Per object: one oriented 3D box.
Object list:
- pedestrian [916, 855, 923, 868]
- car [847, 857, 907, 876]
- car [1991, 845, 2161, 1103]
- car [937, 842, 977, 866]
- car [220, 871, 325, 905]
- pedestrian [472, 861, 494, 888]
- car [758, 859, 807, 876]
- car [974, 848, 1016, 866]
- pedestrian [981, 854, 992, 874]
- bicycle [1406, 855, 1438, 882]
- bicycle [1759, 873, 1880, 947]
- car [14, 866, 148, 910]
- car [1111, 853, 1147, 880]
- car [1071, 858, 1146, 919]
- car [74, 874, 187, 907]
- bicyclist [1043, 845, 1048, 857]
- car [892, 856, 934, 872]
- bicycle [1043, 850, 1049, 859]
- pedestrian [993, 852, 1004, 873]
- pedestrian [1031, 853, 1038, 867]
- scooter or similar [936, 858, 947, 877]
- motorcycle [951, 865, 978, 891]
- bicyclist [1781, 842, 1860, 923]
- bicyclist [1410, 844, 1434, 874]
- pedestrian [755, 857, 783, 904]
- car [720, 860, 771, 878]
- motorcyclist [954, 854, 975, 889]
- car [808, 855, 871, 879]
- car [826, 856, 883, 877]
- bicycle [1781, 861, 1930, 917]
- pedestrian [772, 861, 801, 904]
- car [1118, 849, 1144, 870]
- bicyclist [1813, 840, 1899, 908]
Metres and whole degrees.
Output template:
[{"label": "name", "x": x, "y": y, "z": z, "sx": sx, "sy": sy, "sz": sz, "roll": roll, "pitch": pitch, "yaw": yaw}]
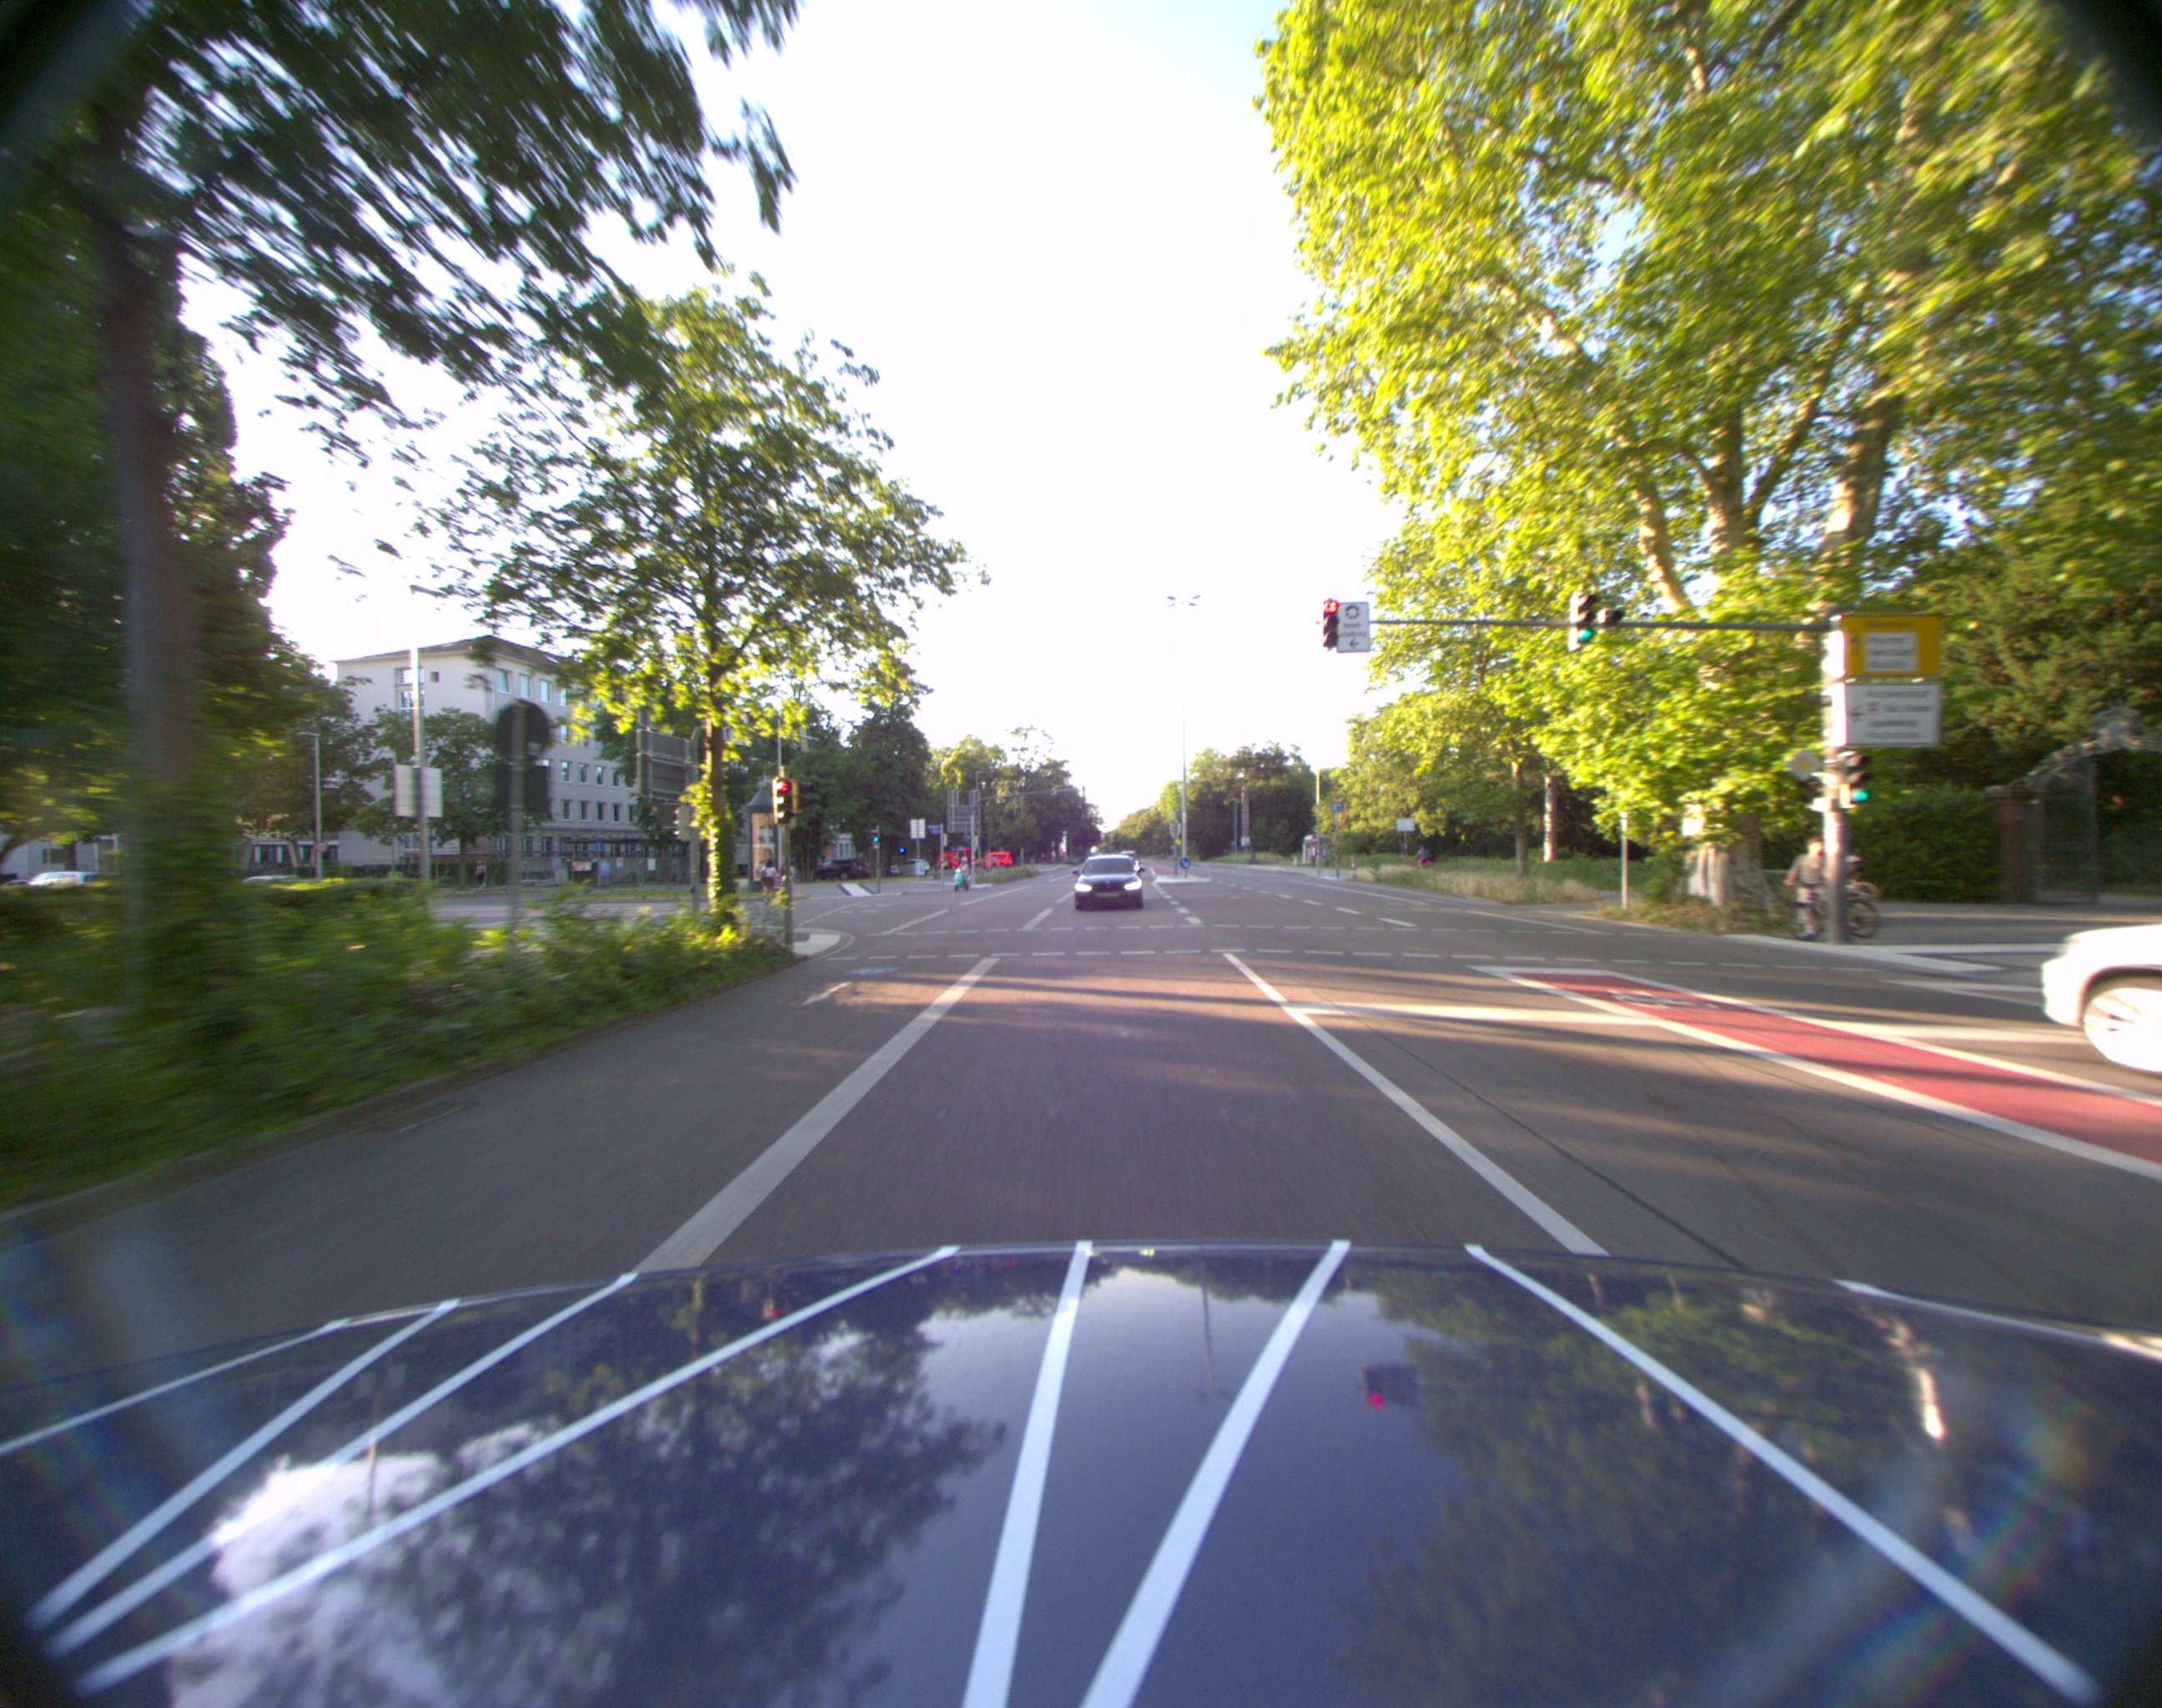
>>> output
[{"label": "pedestrian", "x": -22.684, "y": 1.041, "z": 106.607, "sx": 0.682, "sy": 1.831, "sz": 0.846, "roll": -1, "pitch": 0, "yaw": 6}, {"label": "car", "x": -17.390, "y": 1.059, "z": 64.726, "sx": 4.514, "sy": 1.455, "sz": 1.920, "roll": -1, "pitch": 1, "yaw": 7}, {"label": "car", "x": 8.004, "y": 0.802, "z": 3.660, "sx": 1.921, "sy": 1.686, "sz": 4.426, "roll": 1, "pitch": 0, "yaw": 0}, {"label": "car", "x": -17.108, "y": -0.036, "z": 105.589, "sx": 2.769, "sy": 3.225, "sz": 8.304, "roll": -1, "pitch": 0, "yaw": 11}, {"label": "car", "x": -42.045, "y": 1.757, "z": 39.554, "sx": 3.993, "sy": 1.630, "sz": 1.902, "roll": -1, "pitch": 1, "yaw": 12}, {"label": "pedestrian", "x": -38.629, "y": 1.323, "z": 49.092, "sx": 0.894, "sy": 1.729, "sz": 0.705, "roll": -1, "pitch": 1, "yaw": 13}, {"label": "car", "x": -28.177, "y": 1.258, "z": 71.819, "sx": 3.910, "sy": 1.513, "sz": 1.919, "roll": -1, "pitch": 1, "yaw": 13}, {"label": "car", "x": -11.600, "y": 0.373, "z": 102.686, "sx": 5.162, "sy": 2.379, "sz": 2.001, "roll": -1, "pitch": 1, "yaw": 7}, {"label": "pedestrian", "x": -7.528, "y": 0.795, "z": 60.476, "sx": 0.737, "sy": 1.514, "sz": 0.789, "roll": -1, "pitch": 1, "yaw": 0}, {"label": "bicycle", "x": 16.444, "y": 0.688, "z": 36.672, "sx": 0.791, "sy": 1.249, "sz": 1.980, "roll": -1, "pitch": 1, "yaw": 4}, {"label": "bicycle", "x": 12.878, "y": 0.964, "z": 13.271, "sx": 1.632, "sy": 1.222, "sz": 0.572, "roll": -1, "pitch": 1, "yaw": -4}, {"label": "car", "x": -50.073, "y": 1.692, "z": 38.085, "sx": 4.490, "sy": 1.851, "sz": 2.057, "roll": -3, "pitch": 0, "yaw": 8}, {"label": "car", "x": 2.671, "y": 0.665, "z": 43.007, "sx": 1.850, "sy": 1.346, "sz": 4.704, "roll": -4, "pitch": 0, "yaw": 3}, {"label": "car", "x": 0.746, "y": 0.866, "z": 21.461, "sx": 1.817, "sy": 1.391, "sz": 5.213, "roll": -2, "pitch": 0, "yaw": 1}, {"label": "car", "x": -51.486, "y": 1.989, "z": 41.196, "sx": 3.994, "sy": 1.630, "sz": 2.001, "roll": -1, "pitch": 1, "yaw": 8}, {"label": "bicyclist", "x": -4.765, "y": -0.447, "z": 102.251, "sx": 0.571, "sy": 1.623, "sz": 1.038, "roll": -1, "pitch": 1, "yaw": 4}, {"label": "car", "x": -16.367, "y": 0.971, "z": 74.101, "sx": 3.661, "sy": 1.451, "sz": 1.665, "roll": -1, "pitch": 1, "yaw": 9}, {"label": "bicycle", "x": -4.755, "y": 0.093, "z": 102.212, "sx": 0.571, "sy": 1.233, "sz": 1.899, "roll": -1, "pitch": 0, "yaw": 5}, {"label": "pedestrian", "x": -6.550, "y": 0.662, "z": 60.232, "sx": 0.721, "sy": 1.650, "sz": 0.776, "roll": -1, "pitch": 1, "yaw": -1}, {"label": "pedestrian", "x": -5.332, "y": 0.693, "z": 87.429, "sx": 0.682, "sy": 1.613, "sz": 0.689, "roll": -1, "pitch": 0, "yaw": 4}, {"label": "scooter or similar", "x": -9.712, "y": 0.950, "z": 52.828, "sx": 0.441, "sy": 1.264, "sz": 1.179, "roll": -1, "pitch": 1, "yaw": 4}, {"label": "motorcycle", "x": -5.868, "y": 1.196, "z": 38.389, "sx": 0.683, "sy": 1.190, "sz": 1.896, "roll": -2, "pitch": 0, "yaw": 13}, {"label": "bicyclist", "x": 12.879, "y": 0.482, "z": 13.242, "sx": 0.839, "sy": 1.353, "sz": 0.572, "roll": -1, "pitch": 1, "yaw": -4}, {"label": "bicyclist", "x": 16.431, "y": 0.223, "z": 36.640, "sx": 0.791, "sy": 1.419, "sz": 0.892, "roll": -1, "pitch": 1, "yaw": 4}, {"label": "pedestrian", "x": -11.814, "y": 1.010, "z": 28.786, "sx": 0.682, "sy": 1.744, "sz": 0.689, "roll": -1, "pitch": 0, "yaw": 4}, {"label": "car", "x": -29.314, "y": 1.337, "z": 66.419, "sx": 3.623, "sy": 1.451, "sz": 1.771, "roll": -1, "pitch": 1, "yaw": 6}, {"label": "motorcyclist", "x": -5.882, "y": 0.856, "z": 38.391, "sx": 0.739, "sy": 1.727, "sz": 0.691, "roll": -2, "pitch": 0, "yaw": 13}, {"label": "car", "x": -18.724, "y": 0.981, "z": 58.934, "sx": 4.232, "sy": 1.730, "sz": 1.920, "roll": -1, "pitch": 1, "yaw": 10}, {"label": "car", "x": -18.372, "y": 1.026, "z": 61.754, "sx": 3.993, "sy": 1.601, "sz": 1.920, "roll": -1, "pitch": 1, "yaw": 11}, {"label": "bicycle", "x": 17.491, "y": 0.751, "z": 17.265, "sx": 0.858, "sy": 1.010, "sz": 2.194, "roll": 1, "pitch": 4, "yaw": -11}, {"label": "pedestrian", "x": -11.091, "y": 1.066, "z": 28.660, "sx": 0.682, "sy": 1.613, "sz": 0.845, "roll": -1, "pitch": 0, "yaw": 4}, {"label": "car", "x": 3.906, "y": 0.441, "z": 59.832, "sx": 1.850, "sy": 1.473, "sz": 4.704, "roll": -4, "pitch": 0, "yaw": 2}, {"label": "bicyclist", "x": 17.513, "y": 0.438, "z": 17.201, "sx": 0.858, "sy": 1.424, "sz": 0.942, "roll": 1, "pitch": 5, "yaw": -11}]
